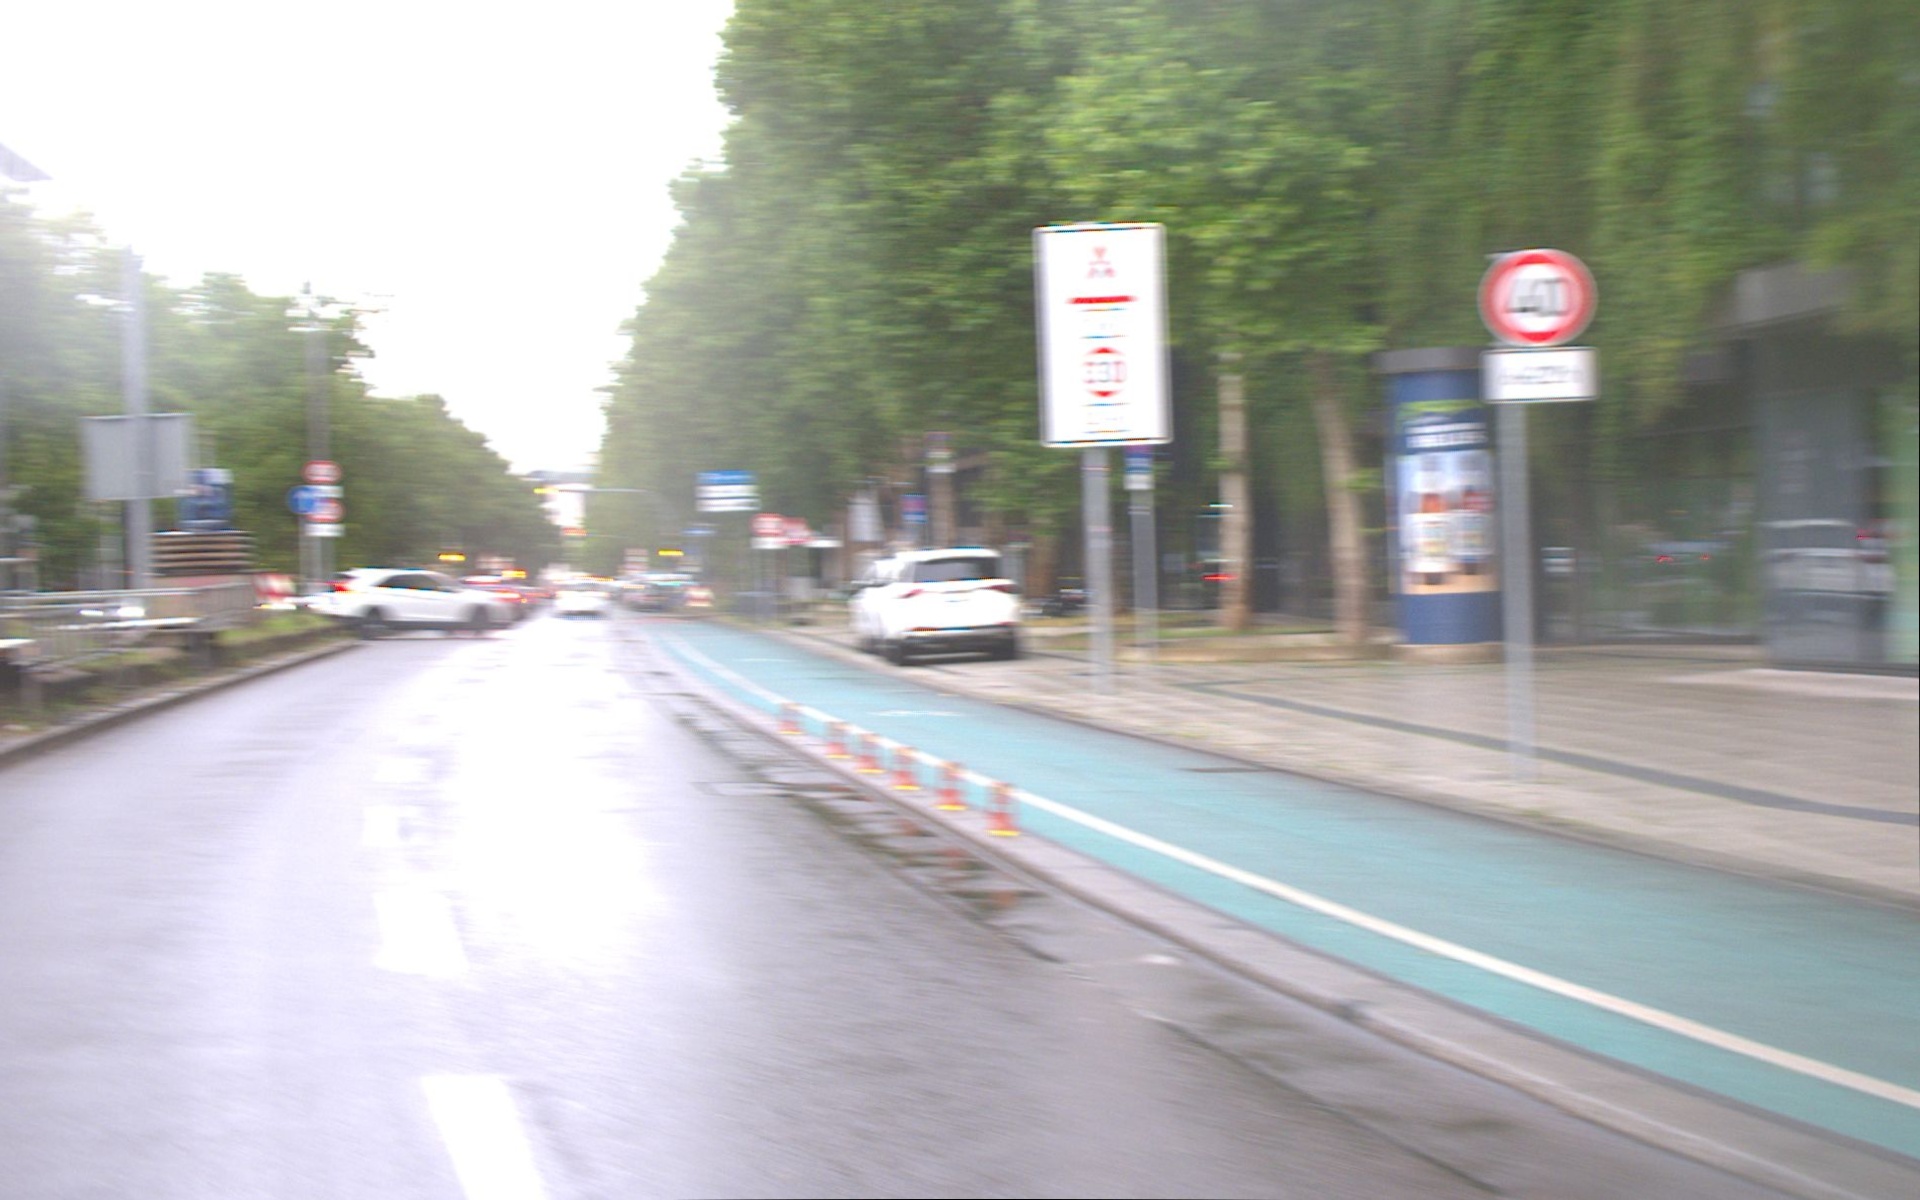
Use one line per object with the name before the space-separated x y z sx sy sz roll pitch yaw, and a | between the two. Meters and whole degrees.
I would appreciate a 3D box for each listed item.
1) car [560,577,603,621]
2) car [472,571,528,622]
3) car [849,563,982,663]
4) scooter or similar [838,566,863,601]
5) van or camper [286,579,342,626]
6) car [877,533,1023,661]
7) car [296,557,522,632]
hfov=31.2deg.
car | -15.258 -0.063 138.418 1.620 1.660 4.001 -3 1 -6
car | -13.793 -0.113 103.085 1.620 1.466 4.001 -1 1 -8
car | -0.825 0.199 60.363 1.843 1.627 4.787 -1 1 -7
scooter or similar | -3.883 -0.602 121.904 0.381 1.224 1.077 -1 1 30
van or camper | -27.976 0.090 149.050 1.993 1.907 5.252 -1 1 -6
car | -0.212 -0.089 53.974 1.843 1.832 5.095 -2 1 -4
car | -13.001 -0.142 81.119 4.872 1.649 2.000 -1 1 -25
